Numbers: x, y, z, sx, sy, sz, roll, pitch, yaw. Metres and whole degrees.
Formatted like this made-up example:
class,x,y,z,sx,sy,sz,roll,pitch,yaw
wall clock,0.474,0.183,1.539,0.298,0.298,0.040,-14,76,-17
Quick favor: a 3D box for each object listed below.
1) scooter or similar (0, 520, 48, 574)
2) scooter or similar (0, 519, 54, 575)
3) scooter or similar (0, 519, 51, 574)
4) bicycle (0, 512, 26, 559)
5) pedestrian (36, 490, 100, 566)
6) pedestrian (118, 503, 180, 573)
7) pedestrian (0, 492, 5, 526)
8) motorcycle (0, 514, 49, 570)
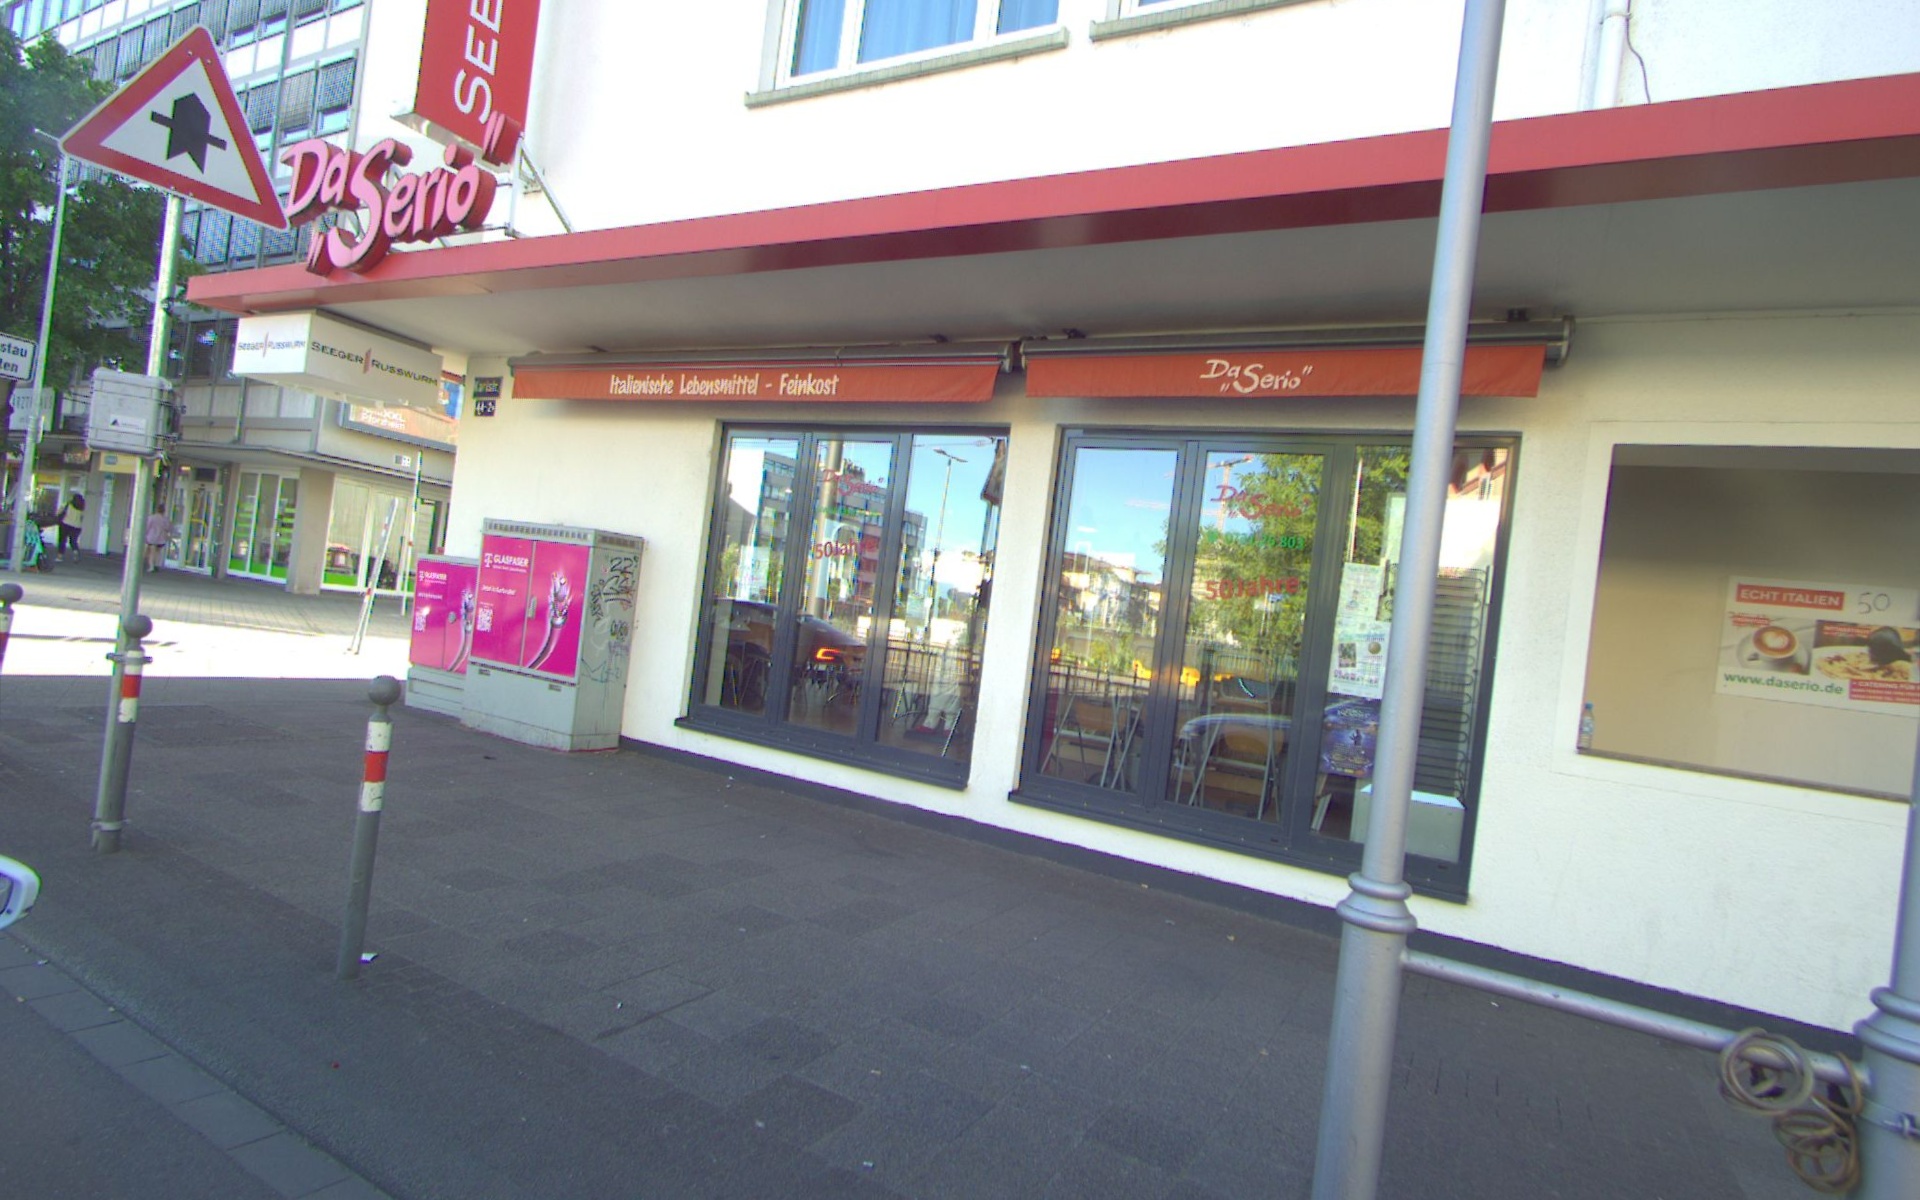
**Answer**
class,x,y,z,sx,sy,sz,roll,pitch,yaw
scooter or similar,-20.014,-1.130,21.290,0.157,1.039,0.964,7,-1,34
scooter or similar,-19.688,-1.118,21.070,0.157,1.056,0.964,7,-1,34
scooter or similar,-19.850,-1.123,21.180,0.157,1.051,0.957,7,-1,34
bicycle,-23.221,-1.591,23.603,0.392,1.069,1.856,7,0,21
pedestrian,-22.370,-1.805,25.235,0.865,1.727,0.844,6,-1,31
pedestrian,-20.777,-1.577,25.785,0.865,1.621,0.844,6,-1,31
pedestrian,-31.269,-2.797,32.331,0.613,1.438,0.644,6,-1,42
motorcycle,-21.539,-1.367,22.342,0.495,1.142,1.791,7,-2,29
